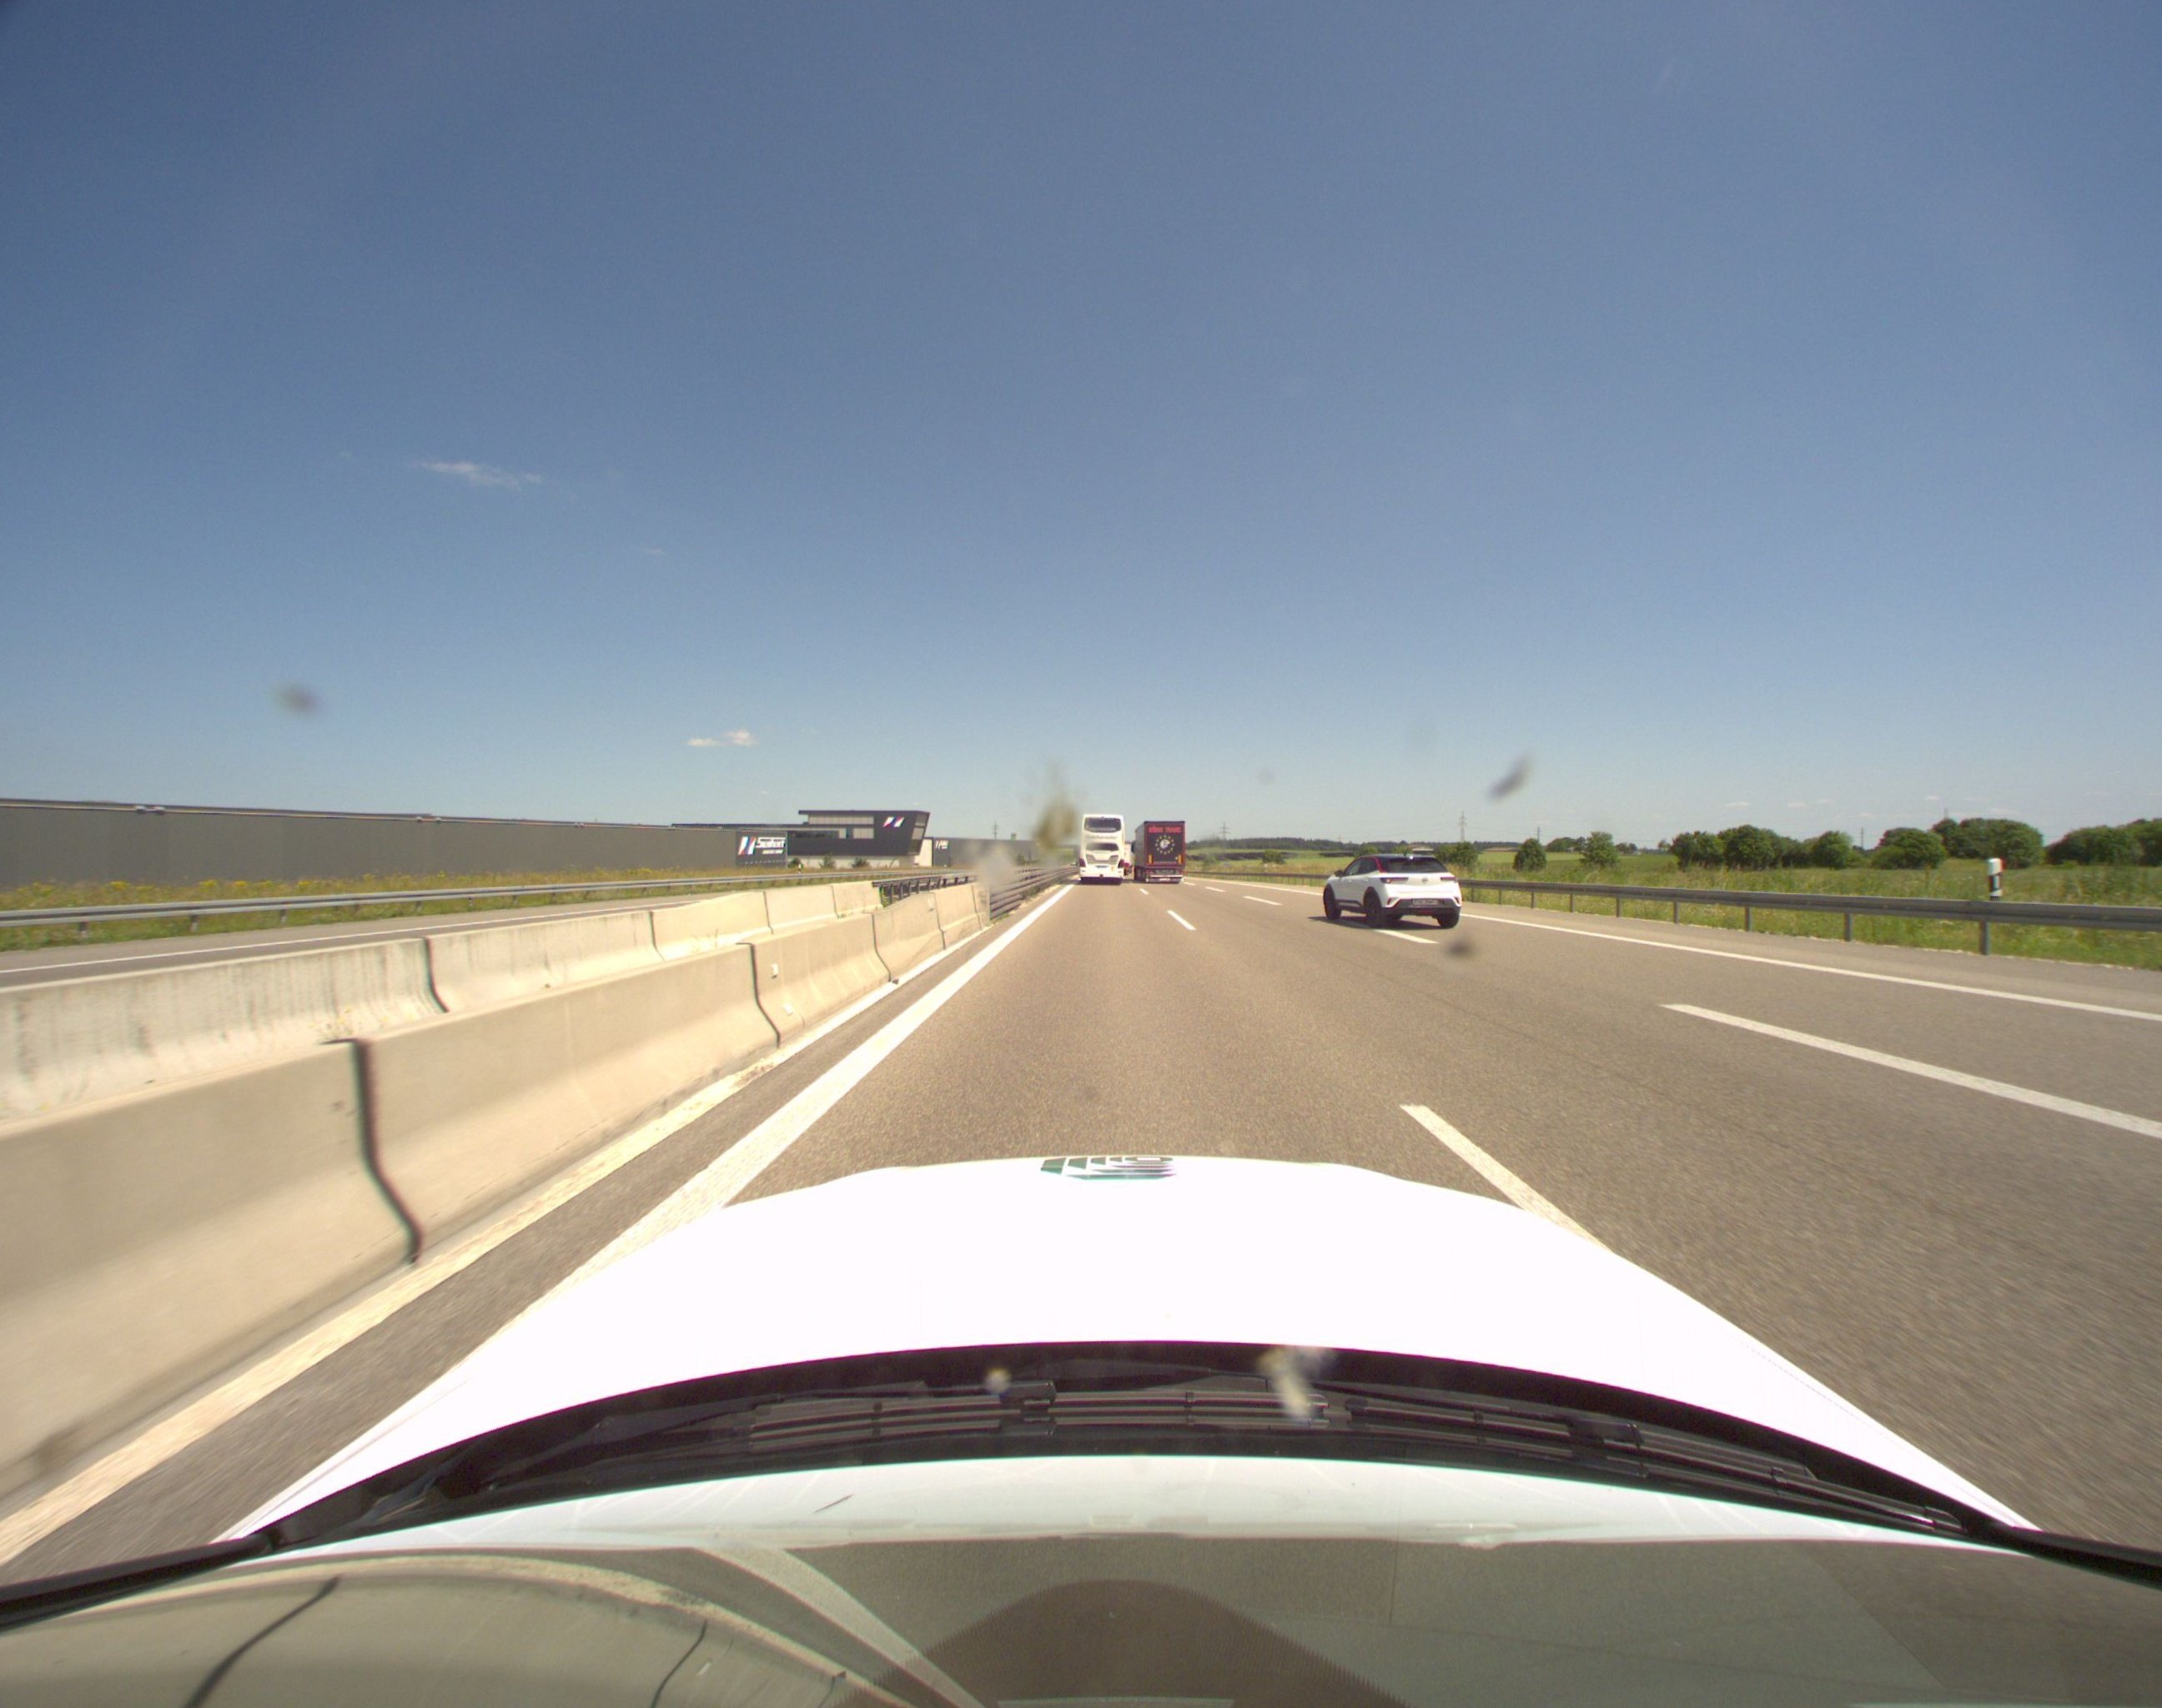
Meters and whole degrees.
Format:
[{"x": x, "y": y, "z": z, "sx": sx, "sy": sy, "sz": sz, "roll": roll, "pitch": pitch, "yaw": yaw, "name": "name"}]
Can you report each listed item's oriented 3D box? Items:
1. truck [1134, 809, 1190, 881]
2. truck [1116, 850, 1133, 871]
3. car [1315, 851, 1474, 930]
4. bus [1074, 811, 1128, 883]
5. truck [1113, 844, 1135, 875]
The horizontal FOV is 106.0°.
[{"x": 5.497, "y": -0.389, "z": 57.531, "sx": 3.365, "sy": 4.464, "sz": 13.577, "roll": 0, "pitch": -1, "yaw": 3, "name": "truck"}, {"x": 7.586, "y": 1.135, "z": 143.531, "sx": 2.574, "sy": 3.401, "sz": 8.684, "roll": -1, "pitch": 0, "yaw": 1, "name": "truck"}, {"x": 6.800, "y": 0.724, "z": 18.202, "sx": 1.885, "sy": 1.529, "sz": 4.261, "roll": -1, "pitch": 0, "yaw": 0, "name": "car"}, {"x": 1.164, "y": -0.500, "z": 50.439, "sx": 2.970, "sy": 3.974, "sz": 9.106, "roll": -1, "pitch": 1, "yaw": 0, "name": "bus"}, {"x": 5.284, "y": 0.675, "z": 101.860, "sx": 2.429, "sy": 3.789, "sz": 6.493, "roll": -1, "pitch": 0, "yaw": 1, "name": "truck"}]
